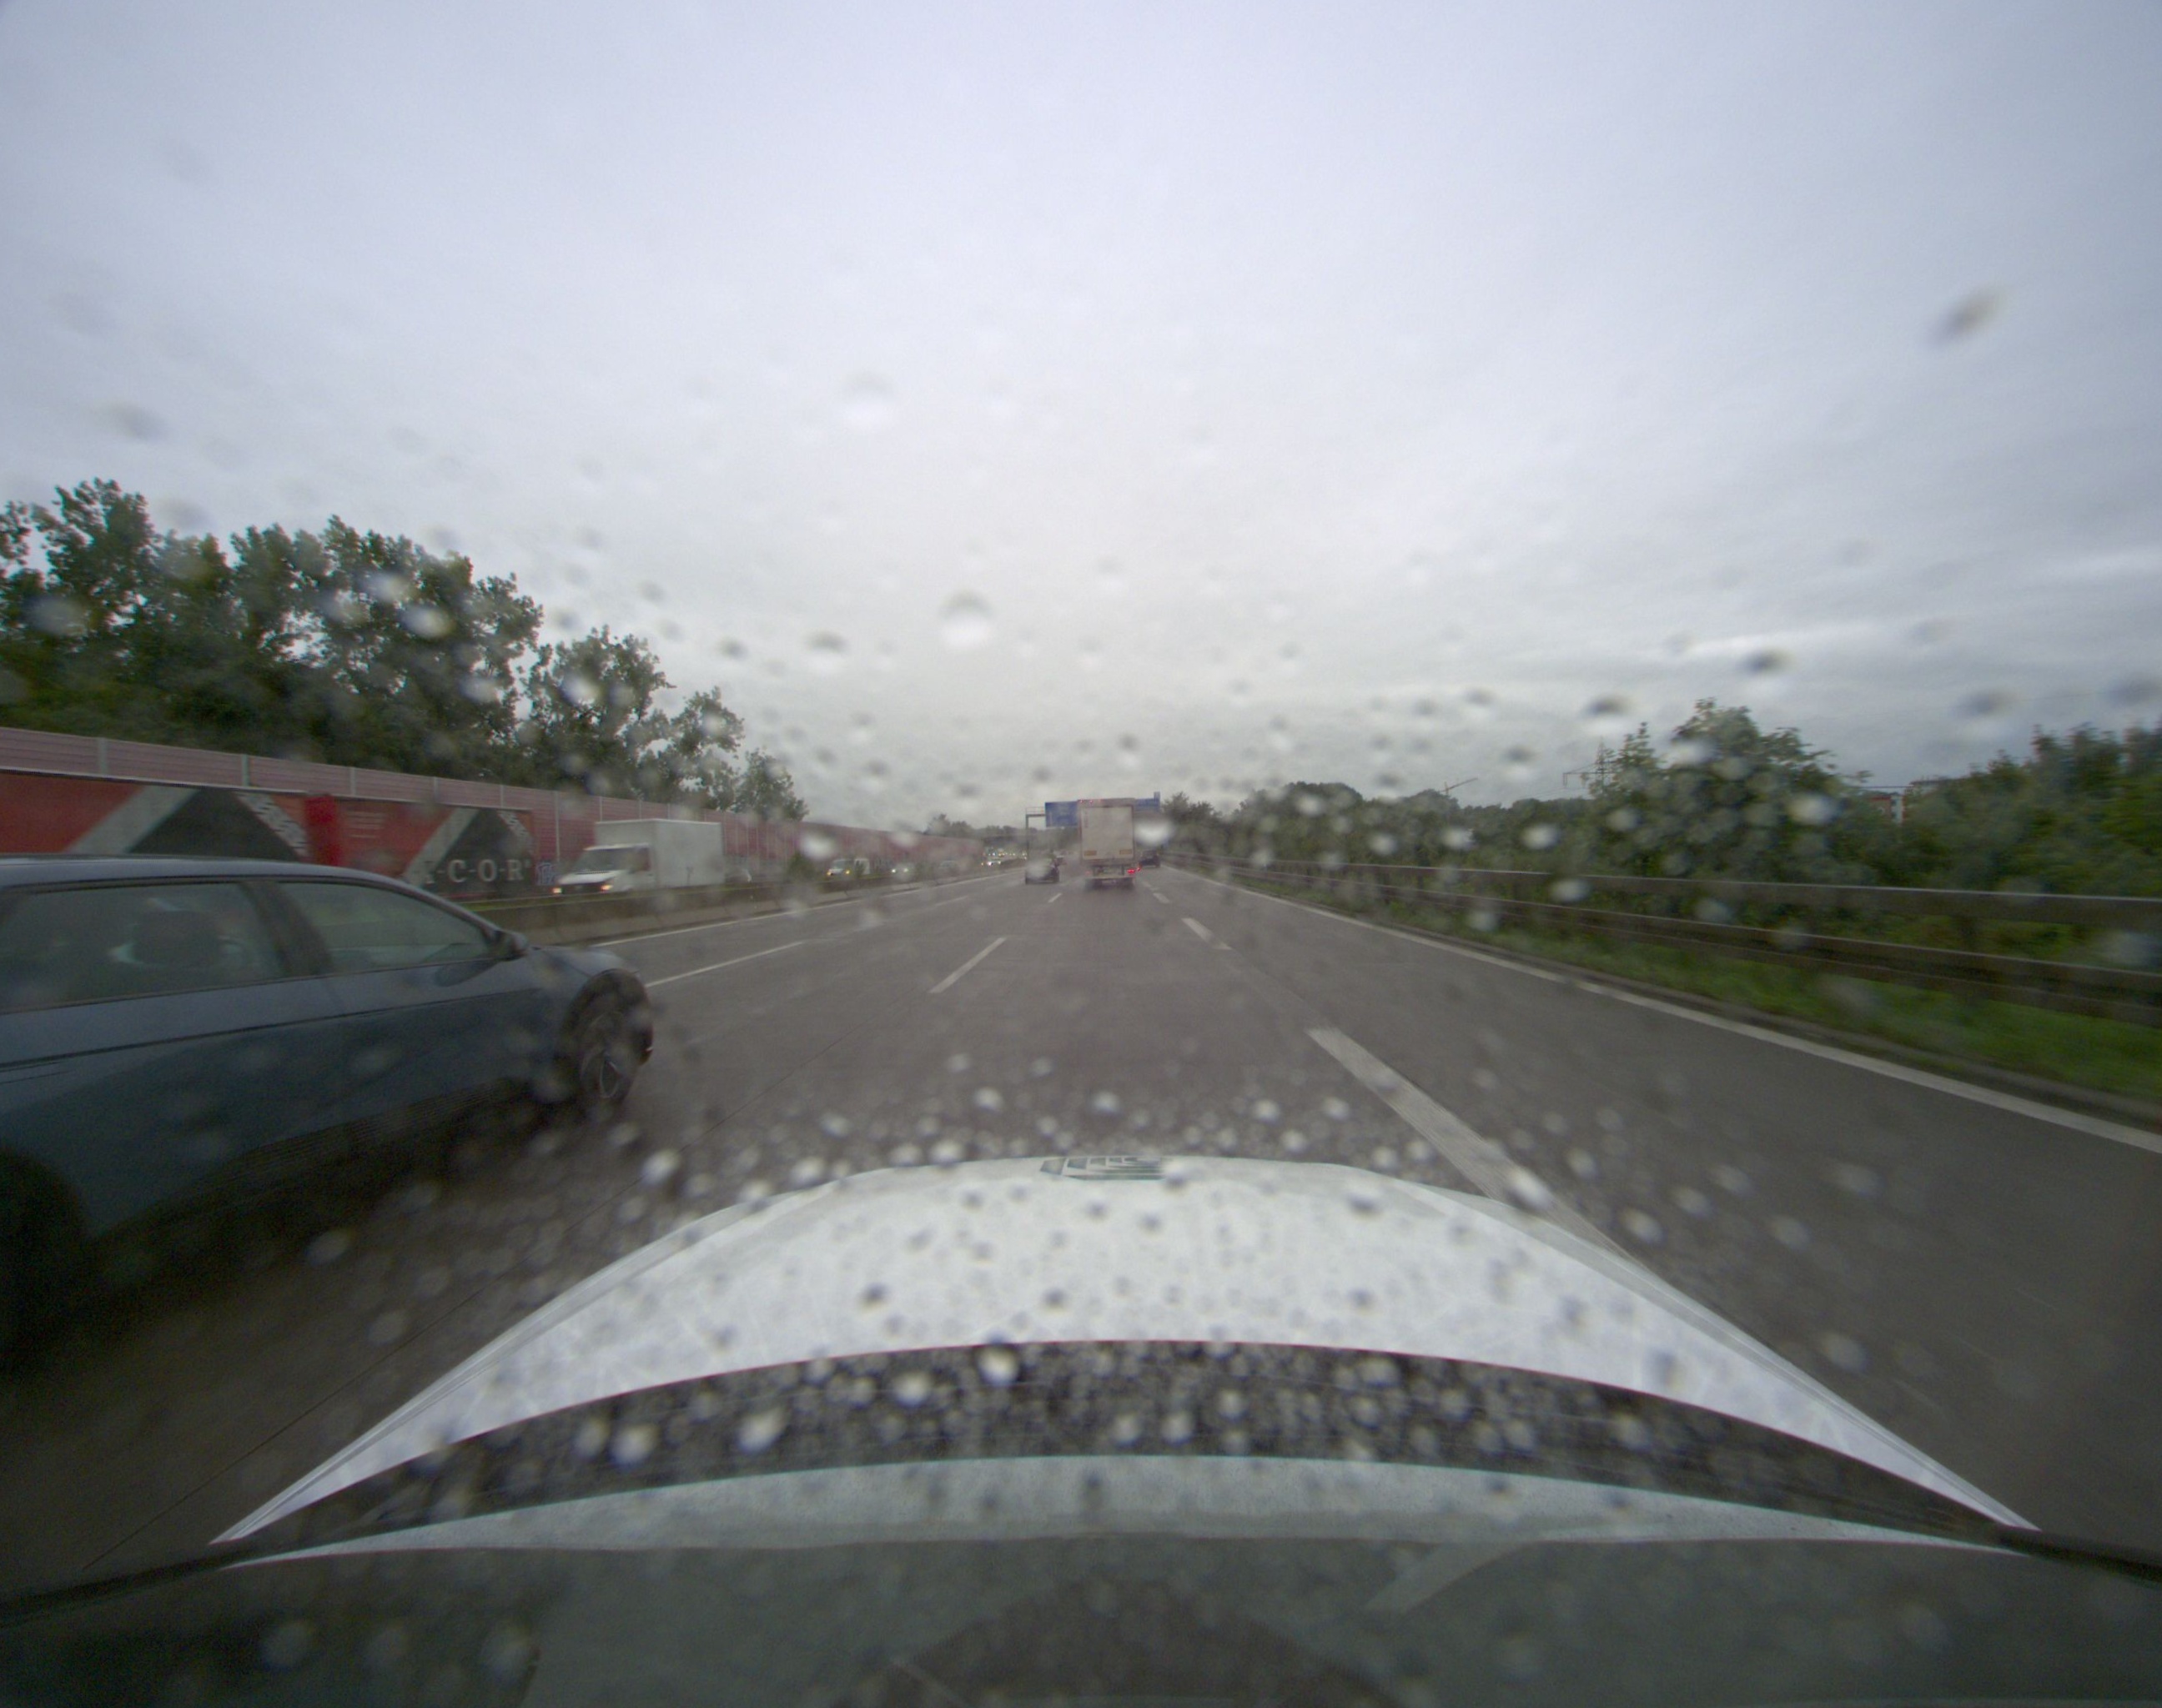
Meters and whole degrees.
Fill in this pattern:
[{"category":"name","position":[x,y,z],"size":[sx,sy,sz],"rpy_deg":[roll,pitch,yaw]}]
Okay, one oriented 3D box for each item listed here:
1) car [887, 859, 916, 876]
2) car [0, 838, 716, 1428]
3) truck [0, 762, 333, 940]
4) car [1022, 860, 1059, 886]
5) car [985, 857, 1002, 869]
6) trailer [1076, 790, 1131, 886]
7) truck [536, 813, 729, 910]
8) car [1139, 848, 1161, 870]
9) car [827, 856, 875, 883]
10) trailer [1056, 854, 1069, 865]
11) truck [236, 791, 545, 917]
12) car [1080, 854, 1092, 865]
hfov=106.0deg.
[{"category":"car","position":[-19.837,1.492,90.163],"size":[1.986,1.648,4.540],"rpy_deg":[-3,0,2]},{"category":"car","position":[-3.784,0.769,3.618],"size":[1.831,1.594,5.158],"rpy_deg":[-1,0,2]},{"category":"truck","position":[-22.464,-0.038,17.432],"size":[2.770,3.490,10.622],"rpy_deg":[-1,0,2]},{"category":"car","position":[-2.303,1.065,47.688],"size":[1.718,1.403,4.831],"rpy_deg":[0,0,2]},{"category":"car","position":[-15.116,1.534,140.896],"size":[1.986,2.013,5.809],"rpy_deg":[0,0,2]},{"category":"trailer","position":[1.315,-0.812,42.890],"size":[2.333,4.157,14.837],"rpy_deg":[-1,1,3]},{"category":"truck","position":[-14.651,0.219,27.406],"size":[2.258,2.828,7.283],"rpy_deg":[0,0,2]},{"category":"car","position":[6.179,0.456,73.586],"size":[1.889,1.949,4.004],"rpy_deg":[0,0,4]},{"category":"car","position":[-16.756,1.082,59.631],"size":[1.987,1.859,5.540],"rpy_deg":[-1,0,-1]},{"category":"trailer","position":[-3.052,0.889,132.304],"size":[1.808,1.624,4.571],"rpy_deg":[-1,0,2]},{"category":"truck","position":[-22.152,-0.003,27.071],"size":[2.770,3.490,8.497],"rpy_deg":[-1,0,2]},{"category":"car","position":[0.801,0.848,131.799],"size":[1.886,1.723,4.002],"rpy_deg":[0,0,2]}]
